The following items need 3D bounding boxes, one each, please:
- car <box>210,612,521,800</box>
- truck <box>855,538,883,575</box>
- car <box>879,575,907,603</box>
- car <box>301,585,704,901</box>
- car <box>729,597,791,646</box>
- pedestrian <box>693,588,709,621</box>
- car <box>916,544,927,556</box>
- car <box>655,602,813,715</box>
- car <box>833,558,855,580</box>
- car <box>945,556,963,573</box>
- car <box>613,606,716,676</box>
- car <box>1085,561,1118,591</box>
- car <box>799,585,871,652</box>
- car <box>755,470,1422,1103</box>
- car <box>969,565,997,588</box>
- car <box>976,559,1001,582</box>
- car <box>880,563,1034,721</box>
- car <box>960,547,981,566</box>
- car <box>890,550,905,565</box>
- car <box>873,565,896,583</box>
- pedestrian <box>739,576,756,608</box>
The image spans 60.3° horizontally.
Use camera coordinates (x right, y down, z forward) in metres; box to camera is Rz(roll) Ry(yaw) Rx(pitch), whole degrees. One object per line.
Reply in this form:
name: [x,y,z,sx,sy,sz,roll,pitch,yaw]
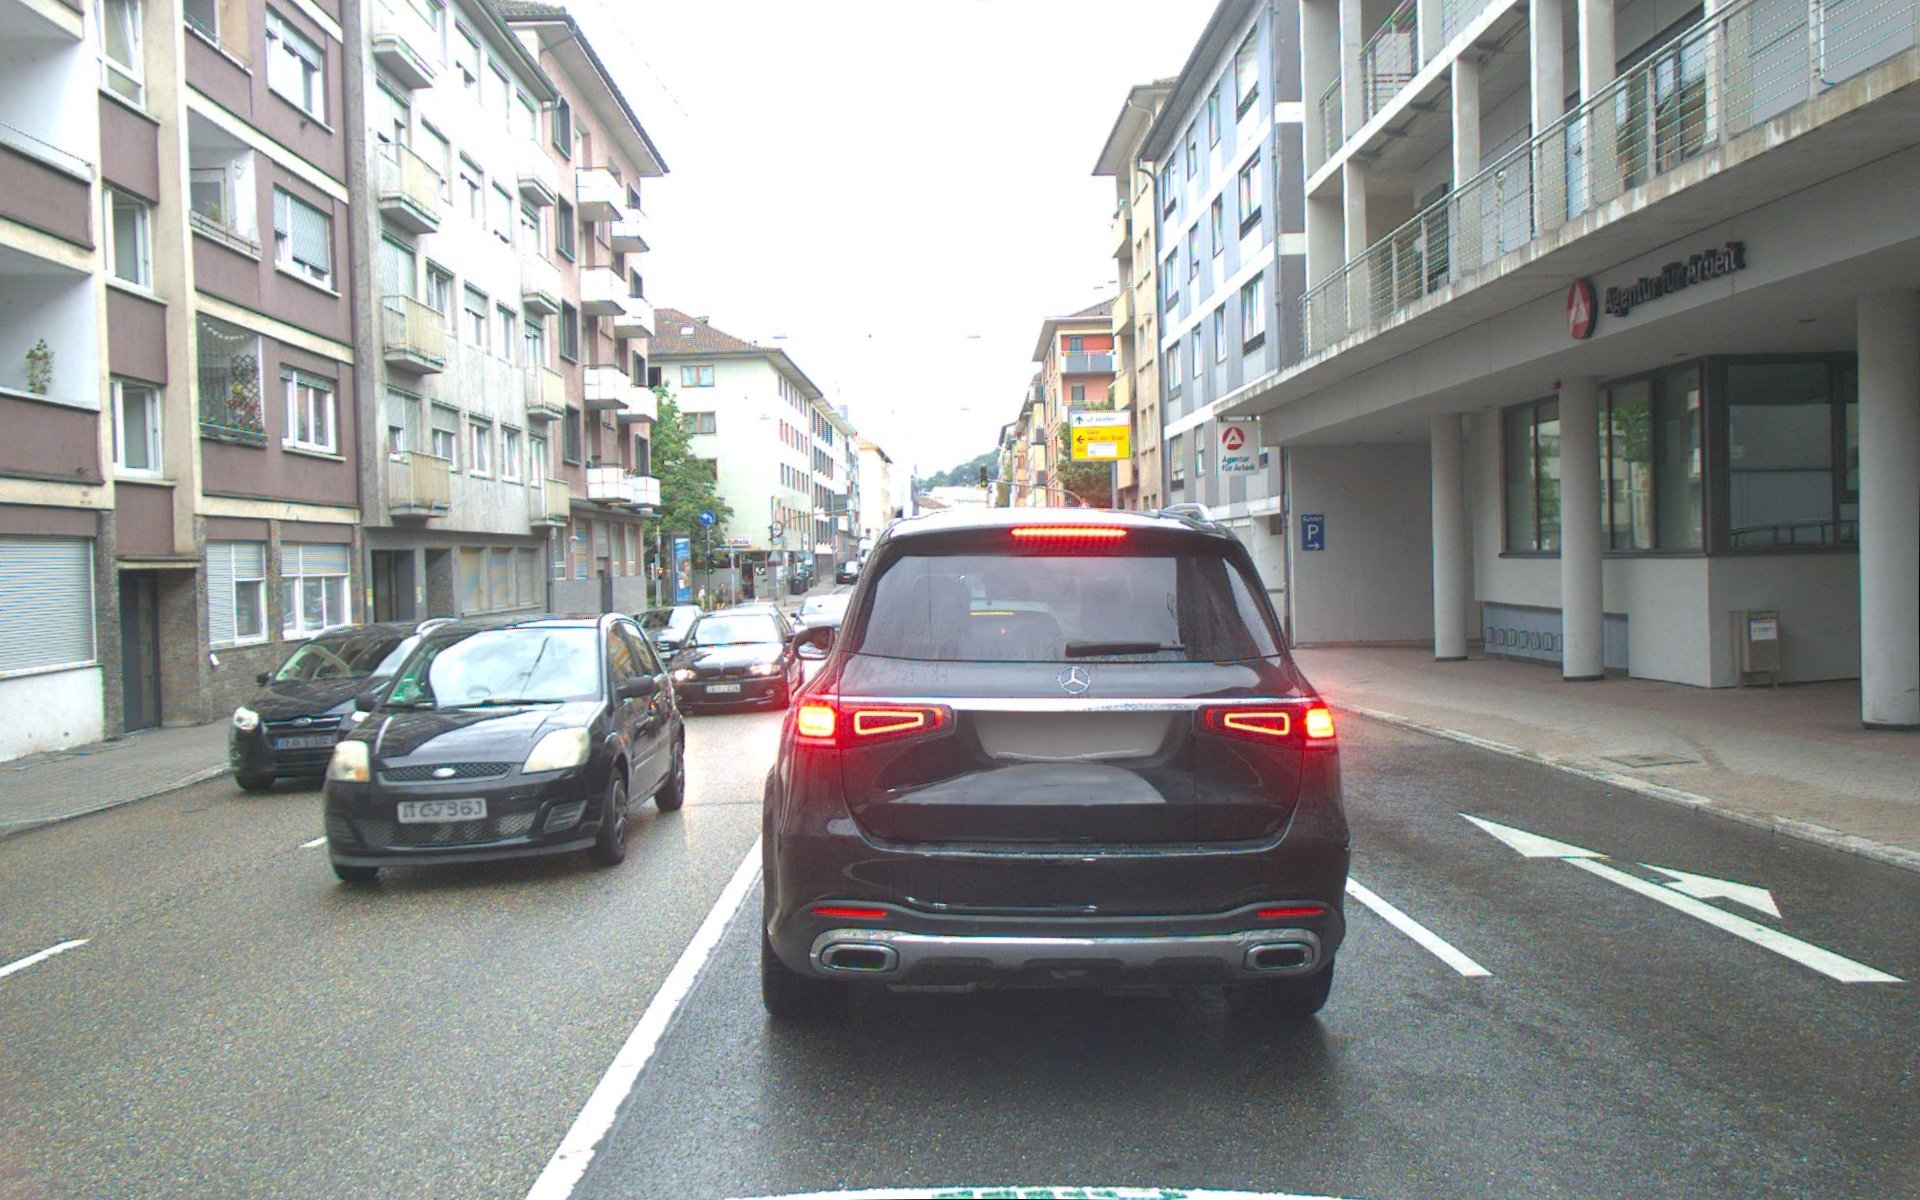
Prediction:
car: [-5.908,0.964,17.022,1.689,1.498,4.372,-4,1,-2]
truck: [-8.605,-4.046,156.994,2.430,3.099,9.914,-3,0,-3]
car: [-4.132,-0.641,101.223,1.586,1.566,4.215,-3,0,-3]
car: [-2.733,0.760,10.830,1.586,1.566,4.215,-3,0,-3]
car: [-6.498,0.674,54.113,1.566,1.394,4.361,-4,0,-2]
pedestrian: [-14.289,0.263,91.334,0.622,1.795,0.774,-2,0,6]
car: [-5.831,-7.572,250.215,1.586,1.566,4.215,-3,0,-3]
car: [-3.185,0.790,24.041,1.660,1.394,4.217,-4,-1,0]
car: [-9.215,-2.478,131.543,1.586,1.566,4.215,-3,0,-3]
car: [-0.672,-3.651,171.667,1.586,1.566,4.215,-3,0,-3]
car: [-6.770,0.906,38.282,1.661,1.394,4.364,-4,0,-2]
car: [8.090,-1.358,94.808,1.636,1.616,3.331,-2,1,1]
car: [-3.325,0.500,44.540,1.661,1.608,4.216,-4,-1,-2]
car: [0.353,0.563,7.072,1.944,1.836,4.389,1,0,-1]
car: [1.588,-1.602,113.982,1.586,1.411,4.215,-3,0,-3]
car: [2.205,-2.246,127.817,1.586,1.566,4.215,-3,0,-3]
car: [-0.134,0.485,20.880,1.716,1.762,4.215,-1,0,-3]
car: [0.959,-3.983,152.525,1.586,1.566,4.215,-3,0,-3]
car: [-7.288,-4.937,193.657,1.586,1.566,4.215,-3,0,-3]
car: [-6.199,-2.108,135.741,1.848,1.286,4.215,-3,0,-3]
pedestrian: [-13.051,-0.514,101.724,0.904,1.935,0.706,-2,0,-3]
